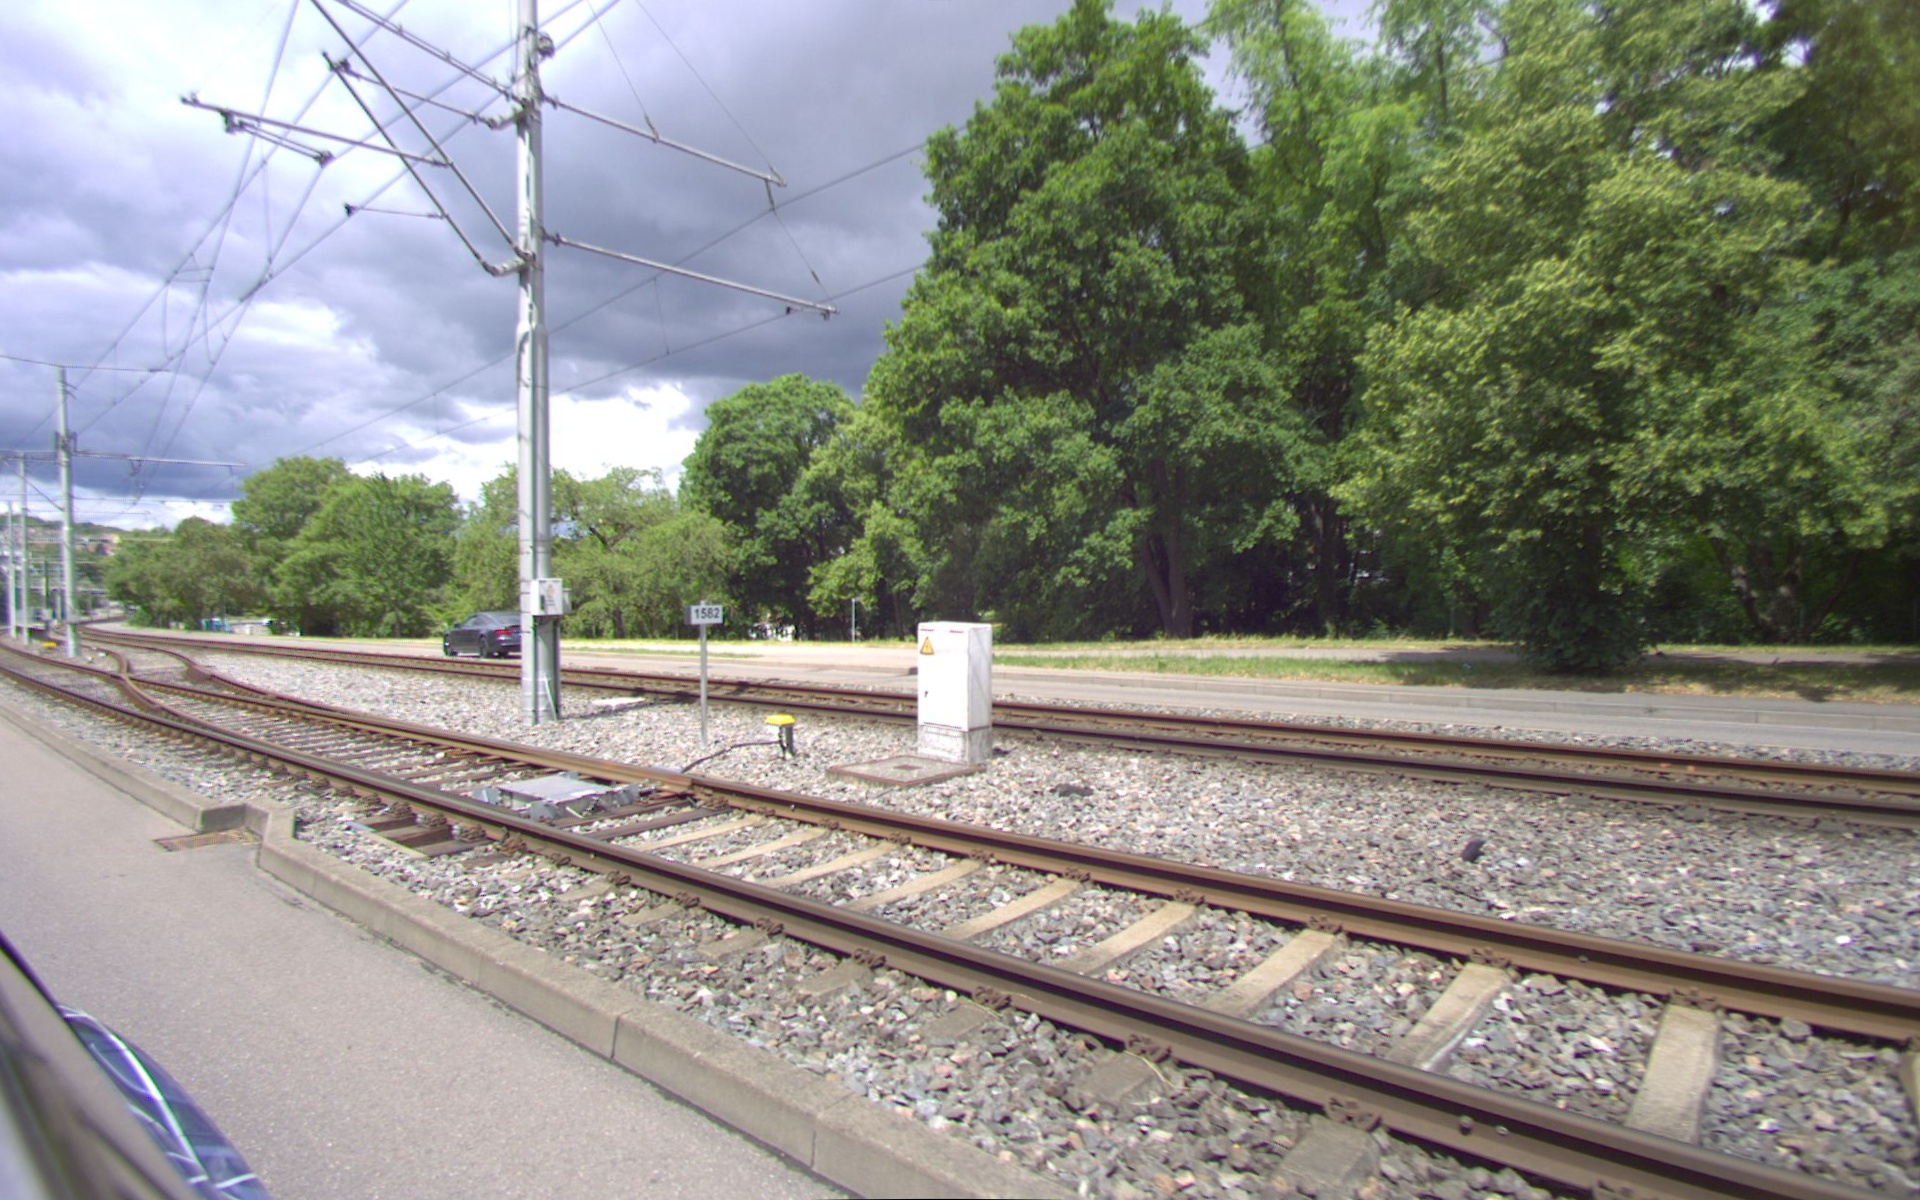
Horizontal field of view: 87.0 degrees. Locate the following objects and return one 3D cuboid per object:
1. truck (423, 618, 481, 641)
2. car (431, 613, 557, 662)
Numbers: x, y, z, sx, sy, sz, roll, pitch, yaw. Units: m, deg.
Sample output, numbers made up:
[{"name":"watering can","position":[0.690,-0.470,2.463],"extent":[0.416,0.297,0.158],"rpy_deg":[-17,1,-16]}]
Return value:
[{"name":"truck","position":[-67.912,3.954,135.346],"extent":[6.520,2.877,2.683],"rpy_deg":[2,-3,-41]},{"name":"car","position":[-14.403,1.125,31.158],"extent":[4.861,1.402,1.815],"rpy_deg":[-1,-2,43]}]
